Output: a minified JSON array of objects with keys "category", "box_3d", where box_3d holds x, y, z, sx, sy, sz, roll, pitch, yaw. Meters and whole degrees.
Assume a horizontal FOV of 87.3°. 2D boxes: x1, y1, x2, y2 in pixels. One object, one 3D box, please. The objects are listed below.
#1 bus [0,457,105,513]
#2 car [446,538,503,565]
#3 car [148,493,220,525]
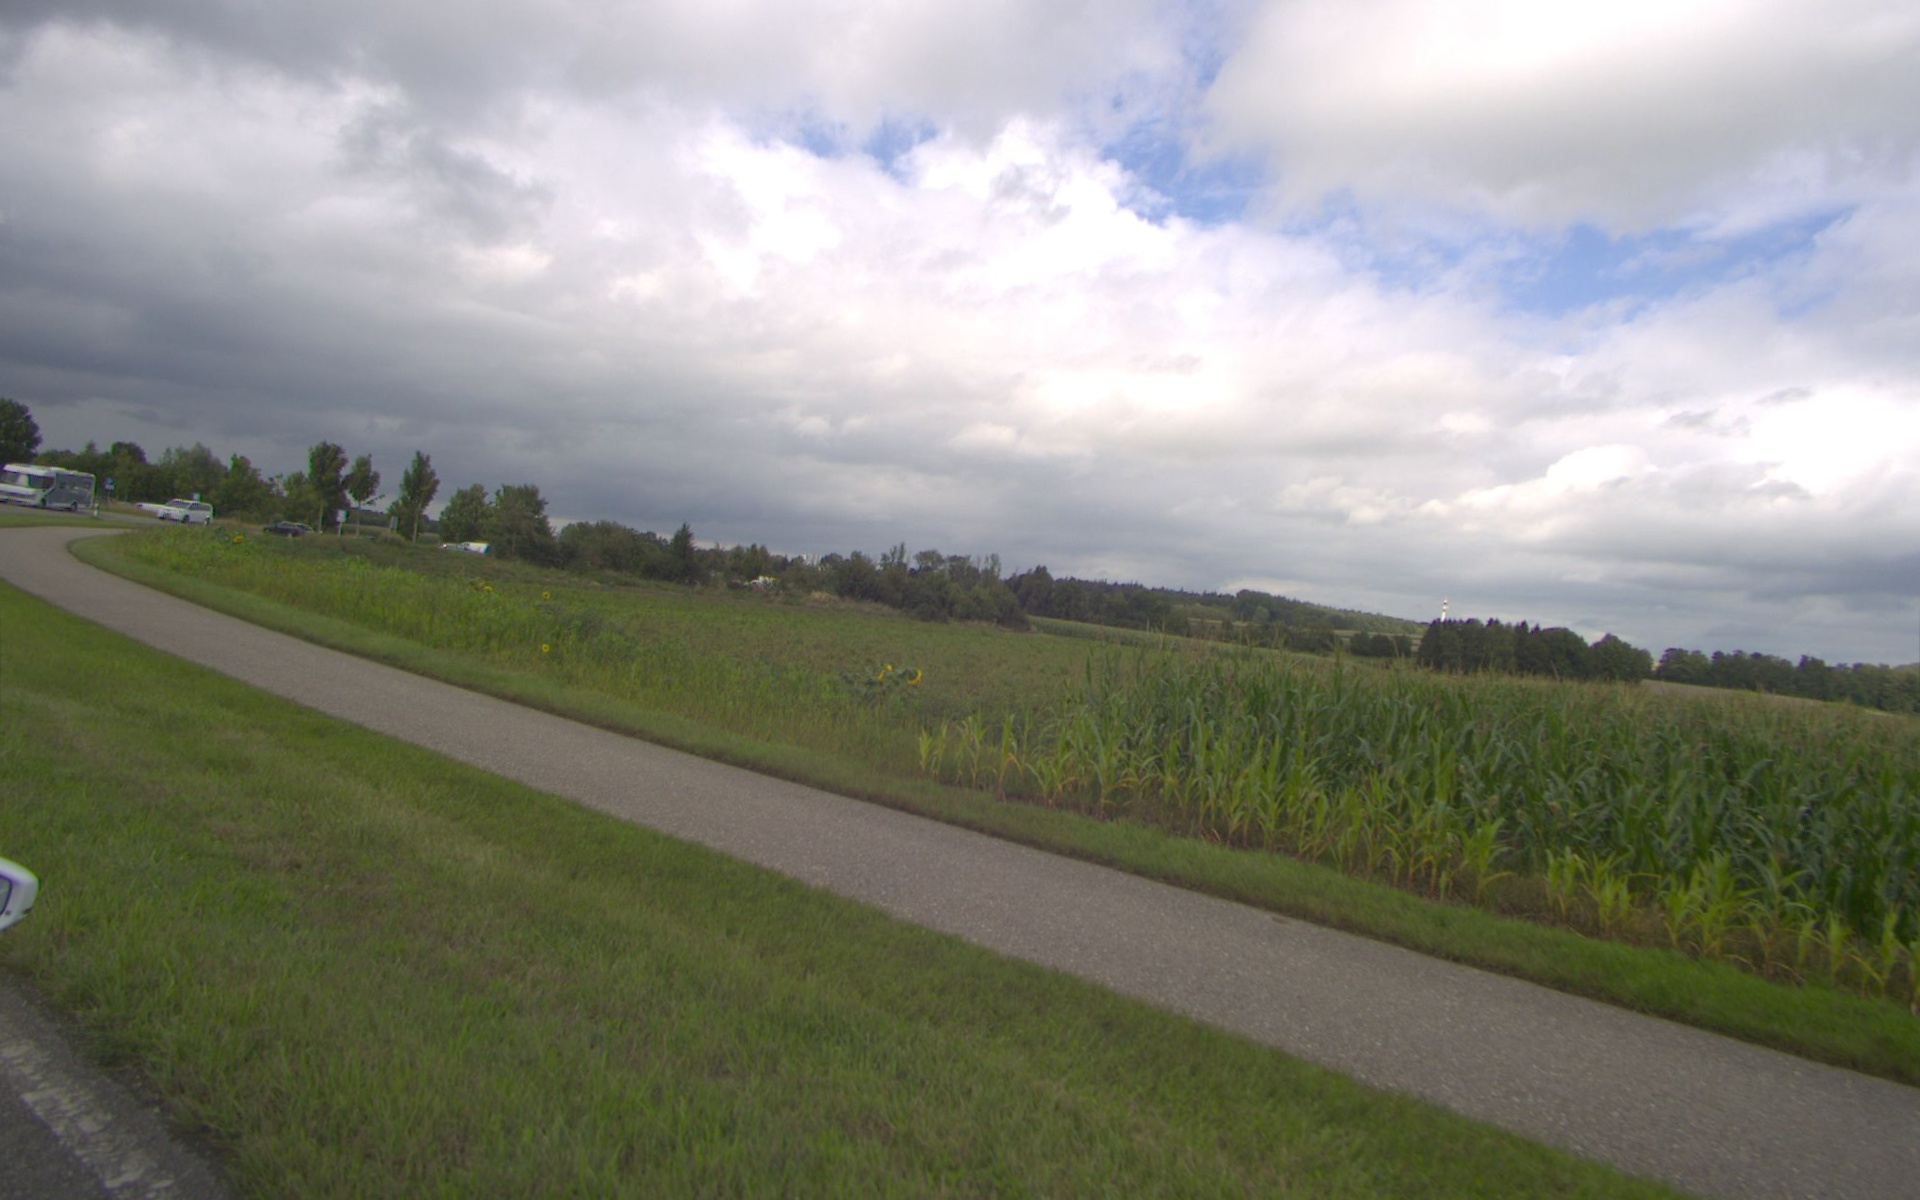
[{"category":"bus","box_3d":[-60.790,-7.580,67.329,2.449,2.744,8.391,8,-1,-20]},{"category":"car","box_3d":[-50.698,-5.070,105.149,4.881,1.998,1.951,8,0,-11]},{"category":"car","box_3d":[-65.142,-7.624,84.616,2.082,1.891,5.184,8,-1,-4]}]
